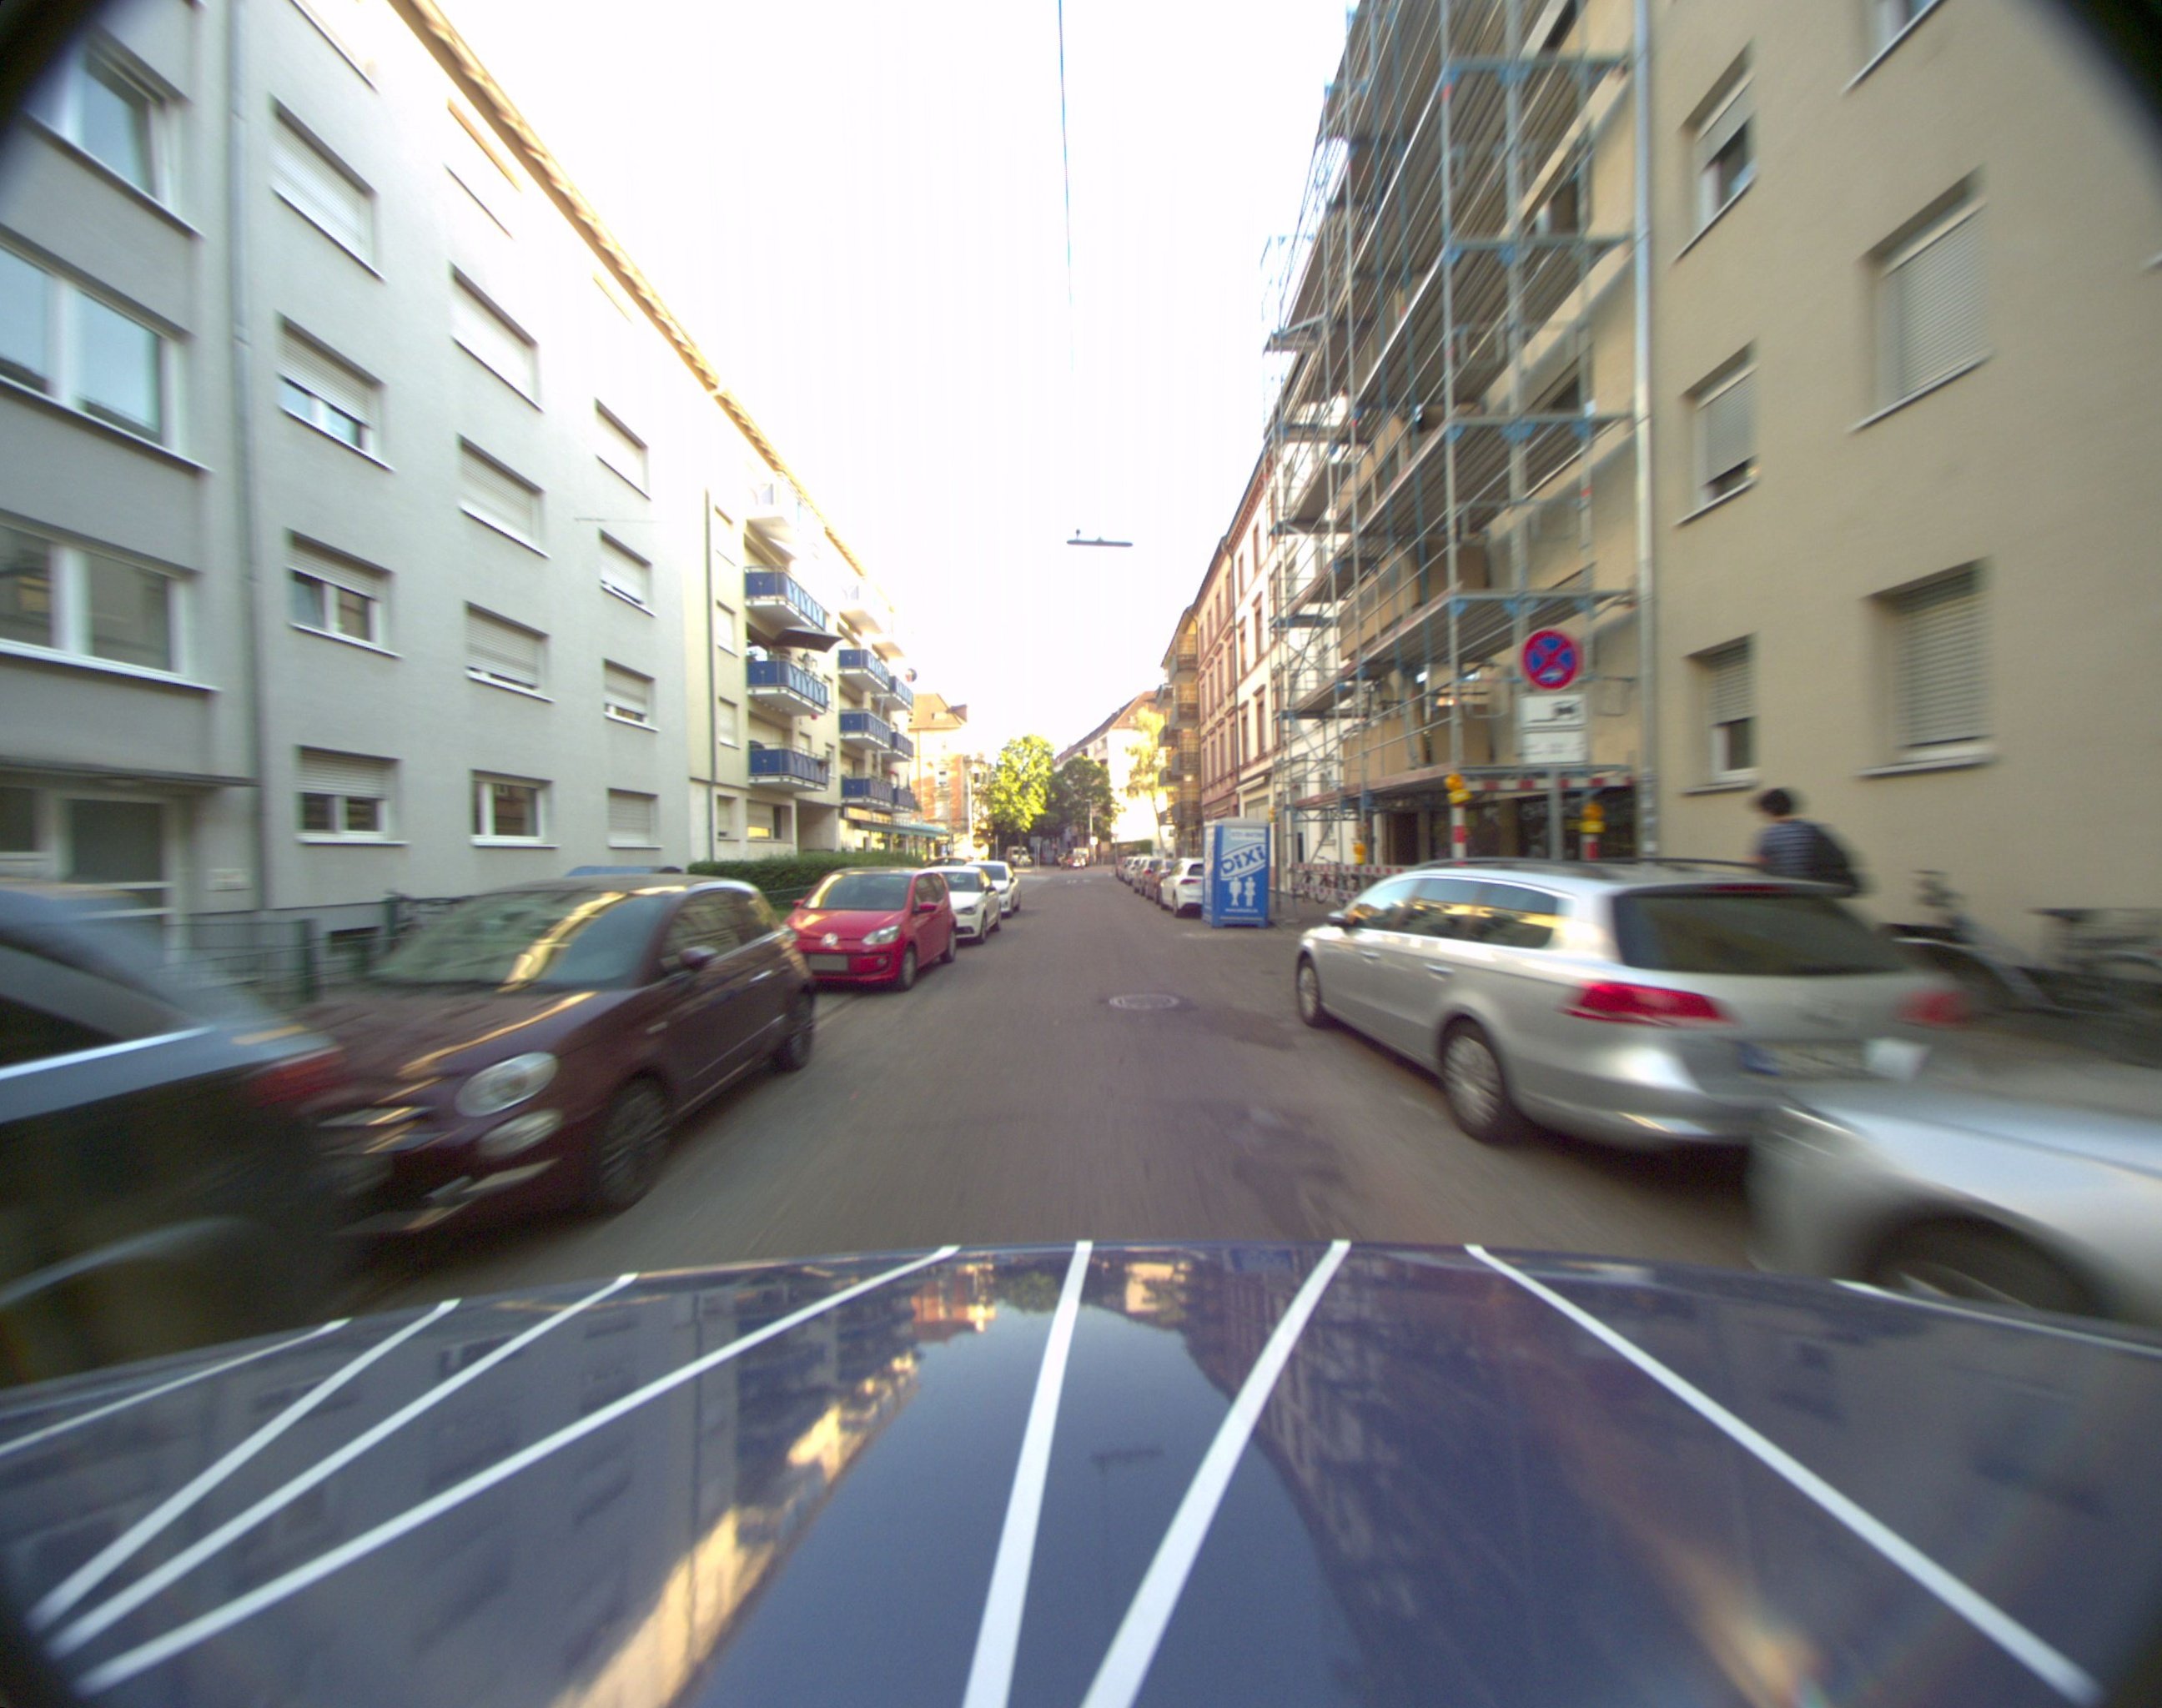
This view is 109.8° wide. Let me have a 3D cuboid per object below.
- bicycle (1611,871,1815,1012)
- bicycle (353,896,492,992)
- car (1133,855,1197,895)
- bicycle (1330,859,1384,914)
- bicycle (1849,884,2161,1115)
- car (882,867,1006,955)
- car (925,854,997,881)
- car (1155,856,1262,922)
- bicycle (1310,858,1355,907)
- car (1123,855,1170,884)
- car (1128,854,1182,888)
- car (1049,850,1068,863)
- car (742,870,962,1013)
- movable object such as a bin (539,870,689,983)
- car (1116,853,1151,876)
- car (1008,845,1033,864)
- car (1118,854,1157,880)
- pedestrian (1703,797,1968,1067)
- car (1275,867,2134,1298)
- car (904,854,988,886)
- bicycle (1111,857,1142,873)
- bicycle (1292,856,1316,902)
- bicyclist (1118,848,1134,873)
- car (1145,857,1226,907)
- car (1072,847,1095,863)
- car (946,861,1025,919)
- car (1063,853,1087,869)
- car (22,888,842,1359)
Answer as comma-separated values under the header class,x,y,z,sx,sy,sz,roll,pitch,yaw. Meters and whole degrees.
class,x,y,z,sx,sy,sz,roll,pitch,yaw
bicycle,6.171,0.788,7.562,0.405,1.162,1.816,-4,1,-2
bicycle,-8.842,1.163,10.295,0.602,1.084,1.738,0,1,-10
car,3.195,0.773,29.717,1.999,1.423,3.999,0,0,-1
bicycle,6.315,0.717,17.468,0.442,1.162,1.816,-4,1,-2
bicycle,6.115,0.831,4.896,0.479,1.162,1.732,-4,1,-2
car,-2.556,1.020,15.127,1.680,1.411,4.135,0,0,0
car,-7.035,0.788,44.834,3.998,1.556,1.999,0,1,-2
car,3.151,0.813,19.573,1.999,1.496,3.999,0,0,-1
bicycle,6.396,0.700,19.400,0.405,1.162,1.816,-4,1,-2
car,3.375,0.788,39.809,1.999,1.423,3.999,0,0,-1
car,3.348,0.742,35.138,1.999,1.423,3.999,0,0,-1
car,-2.903,0.306,98.473,2.081,1.760,4.214,0,0,-8
car,-2.813,0.997,10.187,1.680,1.474,3.652,0,0,3
movable object such as a bin,-6.350,0.951,10.432,1.287,1.428,1.223,0,1,0
car,3.522,0.668,51.431,1.999,1.462,3.846,0,0,-1
car,-7.347,0.049,91.249,2.163,2.270,6.200,0,0,-13
car,3.348,0.741,45.718,1.999,1.462,3.999,0,0,-1
pedestrian,5.323,0.504,5.459,0.791,1.750,1.092,0,1,0
car,2.911,0.885,5.125,1.927,1.480,4.616,0,0,-1
car,-6.831,0.793,38.790,3.998,1.556,1.999,0,1,-2
bicycle,3.227,0.780,53.915,2.106,1.162,0.567,0,1,-1
bicycle,6.301,0.696,21.437,0.490,1.162,1.684,-4,1,19
bicyclist,3.214,0.467,53.900,1.097,1.792,0.567,0,1,-1
car,3.247,0.828,24.402,1.999,1.439,3.999,0,0,-1
car,0.263,0.106,82.453,2.081,1.760,4.215,0,0,-6
car,-2.575,0.934,21.316,1.680,1.411,4.135,0,0,0
car,-0.556,0.623,71.418,1.830,1.496,3.997,0,0,-7
car,-2.847,1.029,4.493,1.680,1.474,3.652,0,0,0
